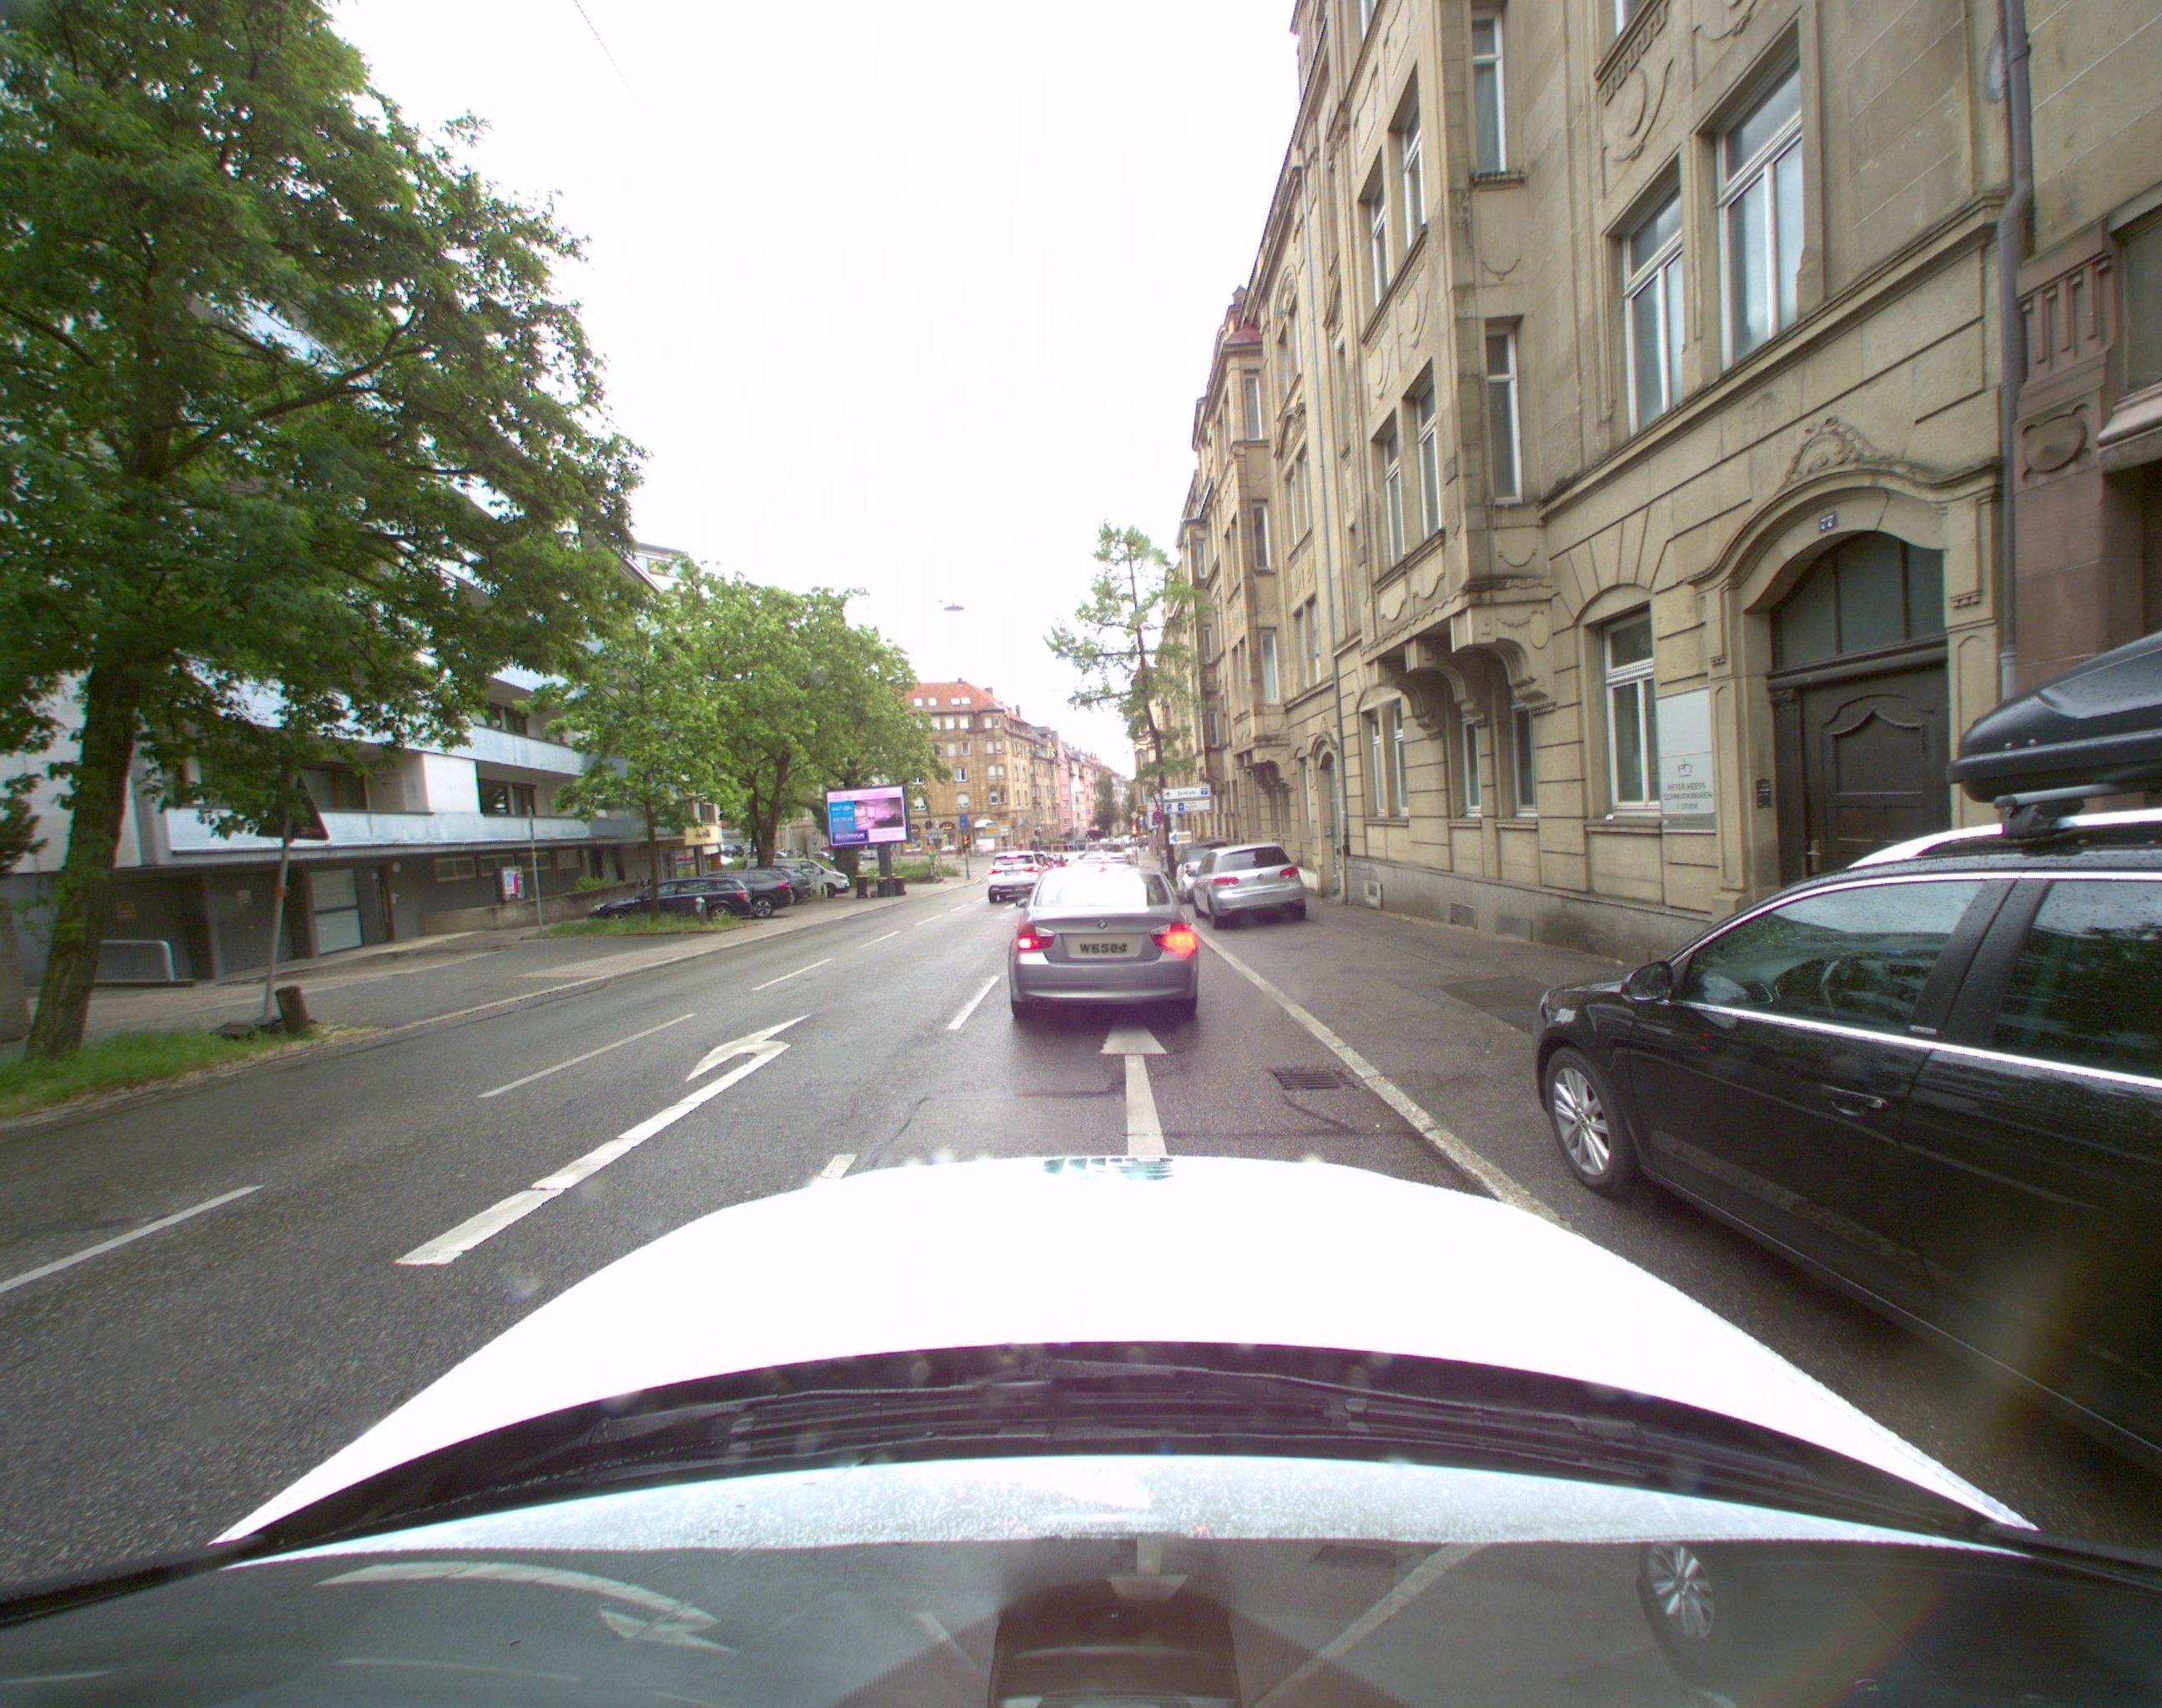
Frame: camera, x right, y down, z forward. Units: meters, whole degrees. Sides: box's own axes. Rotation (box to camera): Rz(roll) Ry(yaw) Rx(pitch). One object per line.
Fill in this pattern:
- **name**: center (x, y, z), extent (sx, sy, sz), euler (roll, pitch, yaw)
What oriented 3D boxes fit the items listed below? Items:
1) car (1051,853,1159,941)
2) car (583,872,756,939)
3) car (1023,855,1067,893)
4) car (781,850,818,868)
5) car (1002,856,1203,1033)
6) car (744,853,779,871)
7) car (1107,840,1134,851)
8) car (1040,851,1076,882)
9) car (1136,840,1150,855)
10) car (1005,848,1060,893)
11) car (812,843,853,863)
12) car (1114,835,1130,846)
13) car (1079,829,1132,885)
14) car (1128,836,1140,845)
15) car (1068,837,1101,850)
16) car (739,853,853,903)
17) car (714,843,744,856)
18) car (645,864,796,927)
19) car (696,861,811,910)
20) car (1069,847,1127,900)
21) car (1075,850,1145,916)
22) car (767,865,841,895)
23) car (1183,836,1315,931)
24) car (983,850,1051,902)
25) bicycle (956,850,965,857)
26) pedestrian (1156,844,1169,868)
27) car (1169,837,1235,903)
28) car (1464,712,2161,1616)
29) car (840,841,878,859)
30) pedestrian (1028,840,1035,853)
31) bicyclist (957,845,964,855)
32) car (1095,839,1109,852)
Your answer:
- **car**: center (0.500, 0.713, 15.482), extent (1.752, 1.383, 4.003), euler (-2, 0, 3)
- **car**: center (-12.237, 1.485, 24.560), extent (4.373, 1.574, 1.930), euler (-4, 0, -21)
- **car**: center (-1.761, 0.936, 40.608), extent (1.752, 1.707, 4.003), euler (-2, 0, 3)
- **car**: center (-35.654, 0.621, 103.080), extent (4.238, 2.101, 2.013), euler (0, 2, 30)
- **car**: center (0.273, 0.758, 8.551), extent (1.617, 1.383, 3.618), euler (-2, 0, 3)
- **car**: center (-41.511, 1.011, 105.800), extent (4.238, 2.101, 2.013), euler (0, 2, 30)
- **car**: center (5.595, -1.175, 114.044), extent (1.974, 1.578, 4.025), euler (-1, -1, 34)
- **car**: center (-1.297, 0.703, 48.317), extent (1.752, 1.707, 4.003), euler (-2, 0, 3)
- **car**: center (9.089, -0.991, 118.998), extent (1.679, 2.013, 4.002), euler (-4, 0, 2)
- **car**: center (-1.936, 0.624, 33.728), extent (1.752, 1.707, 4.003), euler (-2, 0, 3)
- **car**: center (-28.663, -0.090, 94.027), extent (3.954, 2.013, 2.010), euler (-4, 0, 18)
- **car**: center (6.061, -2.015, 120.806), extent (1.983, 1.578, 4.008), euler (0, -1, 7)
- **car**: center (1.024, 0.130, 33.593), extent (1.986, 2.106, 4.002), euler (-2, 0, 2)
- **car**: center (7.169, -1.785, 109.776), extent (1.429, 1.174, 3.435), euler (0, 0, 1)
- **car**: center (0.639, -1.628, 130.069), extent (5.158, 2.014, 2.699), euler (0, -1, 1)
- **car**: center (-13.937, 1.150, 39.996), extent (5.076, 2.105, 1.979), euler (-3, 0, -19)
- **car**: center (-47.200, -0.605, 109.200), extent (3.949, 1.689, 1.738), euler (-1, -1, 29)
- **car**: center (-11.959, 1.347, 27.300), extent (4.382, 1.672, 1.842), euler (-4, 0, -21)
- **car**: center (-13.867, 1.316, 34.736), extent (4.370, 1.784, 1.927), euler (-3, 0, -19)
- **car**: center (0.619, 0.595, 27.318), extent (1.752, 1.567, 4.003), euler (-2, 0, 3)
- **car**: center (0.782, 0.658, 20.942), extent (1.588, 1.464, 4.003), euler (-2, 0, 3)
- **car**: center (-16.083, 1.489, 47.389), extent (3.985, 1.450, 1.758), euler (-3, 0, -19)
- **car**: center (3.216, 0.510, 16.345), extent (1.753, 1.451, 4.001), euler (-7, 0, 1)
- **car**: center (-2.121, 0.692, 27.990), extent (1.861, 1.625, 4.001), euler (-2, 0, 1)
- **bicycle**: center (-14.390, -0.016, 97.064), extent (0.569, 0.858, 1.527), euler (-1, -1, 11)
- **pedestrian**: center (5.420, 0.145, 54.335), extent (0.629, 1.508, 0.693), euler (-7, 0, 1)
- **car**: center (3.322, 0.409, 22.728), extent (1.295, 1.543, 2.977), euler (-7, 0, 1)
- **car**: center (2.777, 0.467, 1.958), extent (1.753, 1.651, 4.101), euler (-7, 0, 2)
- **car**: center (-26.557, -0.499, 97.394), extent (4.238, 2.101, 2.013), euler (0, 2, 30)
- **pedestrian**: center (-6.185, -0.997, 101.684), extent (0.727, 1.577, 0.530), euler (-3, 0, 10)
- **bicyclist**: center (-14.387, -0.469, 97.039), extent (0.565, 1.273, 0.692), euler (-1, -1, 12)
- **car**: center (2.652, -1.080, 104.942), extent (1.709, 1.450, 3.743), euler (-3, 0, 1)
